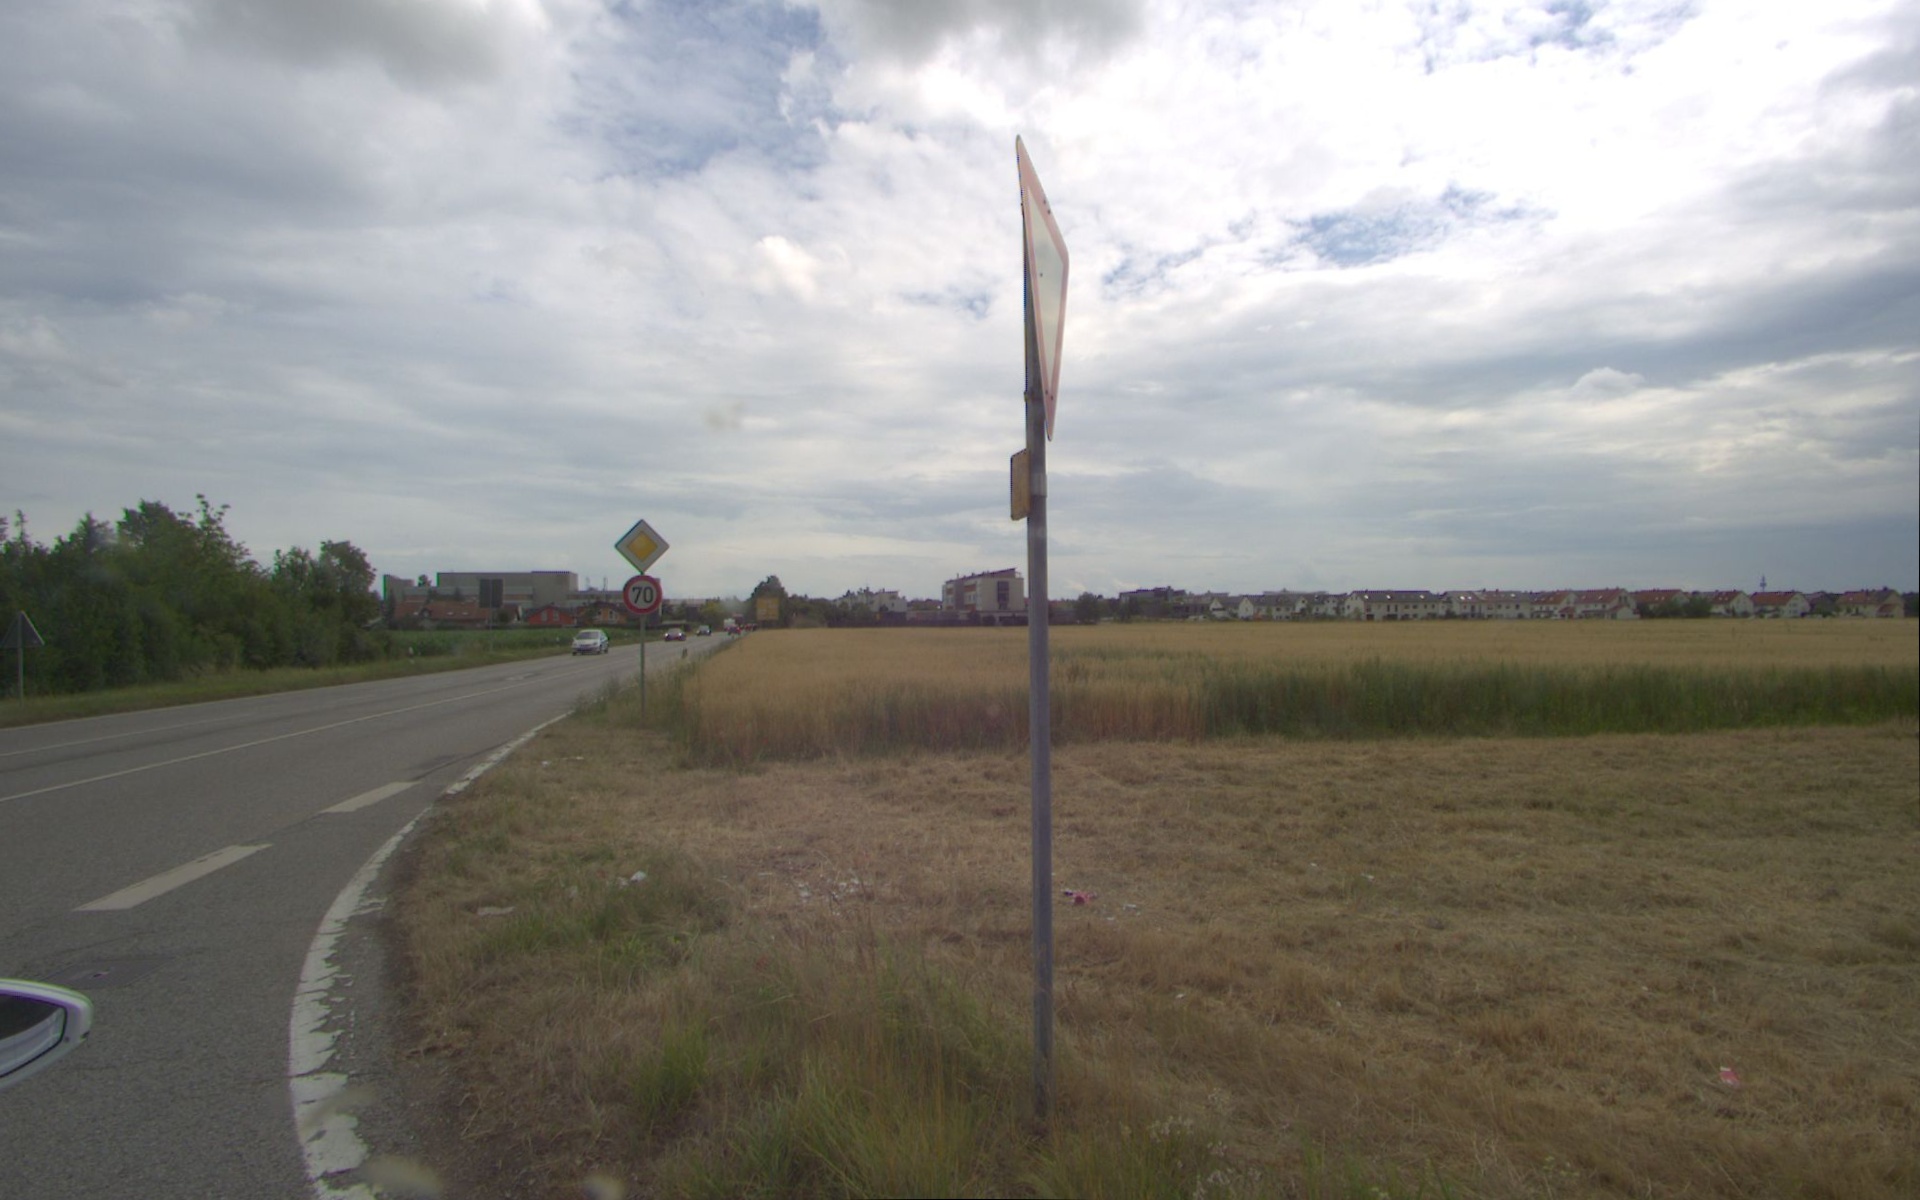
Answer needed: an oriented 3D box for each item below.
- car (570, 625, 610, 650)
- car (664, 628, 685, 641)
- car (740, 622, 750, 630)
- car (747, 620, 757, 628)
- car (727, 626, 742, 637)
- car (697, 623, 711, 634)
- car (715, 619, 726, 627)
[{"bbox_3d":[-23.153,2.325,62.803,1.703,1.450,3.932,-2,-1,-11],"label":"car"},{"bbox_3d":[-29.680,3.600,104.072,1.744,1.257,4.208,-1,-1,-12],"label":"car"},{"bbox_3d":[-45.507,5.457,211.947,1.828,1.750,3.999,0,-1,-8],"label":"car"},{"bbox_3d":[-47.668,5.567,229.518,1.828,1.750,3.999,0,-1,-8],"label":"car"},{"bbox_3d":[-34.213,4.731,151.939,1.828,1.586,3.999,0,-1,-8],"label":"car"},{"bbox_3d":[-36.001,4.055,140.973,1.643,1.447,4.301,-2,-1,-11],"label":"car"},{"bbox_3d":[-50.859,4.871,212.495,1.962,1.721,4.673,0,-1,-10],"label":"car"}]
